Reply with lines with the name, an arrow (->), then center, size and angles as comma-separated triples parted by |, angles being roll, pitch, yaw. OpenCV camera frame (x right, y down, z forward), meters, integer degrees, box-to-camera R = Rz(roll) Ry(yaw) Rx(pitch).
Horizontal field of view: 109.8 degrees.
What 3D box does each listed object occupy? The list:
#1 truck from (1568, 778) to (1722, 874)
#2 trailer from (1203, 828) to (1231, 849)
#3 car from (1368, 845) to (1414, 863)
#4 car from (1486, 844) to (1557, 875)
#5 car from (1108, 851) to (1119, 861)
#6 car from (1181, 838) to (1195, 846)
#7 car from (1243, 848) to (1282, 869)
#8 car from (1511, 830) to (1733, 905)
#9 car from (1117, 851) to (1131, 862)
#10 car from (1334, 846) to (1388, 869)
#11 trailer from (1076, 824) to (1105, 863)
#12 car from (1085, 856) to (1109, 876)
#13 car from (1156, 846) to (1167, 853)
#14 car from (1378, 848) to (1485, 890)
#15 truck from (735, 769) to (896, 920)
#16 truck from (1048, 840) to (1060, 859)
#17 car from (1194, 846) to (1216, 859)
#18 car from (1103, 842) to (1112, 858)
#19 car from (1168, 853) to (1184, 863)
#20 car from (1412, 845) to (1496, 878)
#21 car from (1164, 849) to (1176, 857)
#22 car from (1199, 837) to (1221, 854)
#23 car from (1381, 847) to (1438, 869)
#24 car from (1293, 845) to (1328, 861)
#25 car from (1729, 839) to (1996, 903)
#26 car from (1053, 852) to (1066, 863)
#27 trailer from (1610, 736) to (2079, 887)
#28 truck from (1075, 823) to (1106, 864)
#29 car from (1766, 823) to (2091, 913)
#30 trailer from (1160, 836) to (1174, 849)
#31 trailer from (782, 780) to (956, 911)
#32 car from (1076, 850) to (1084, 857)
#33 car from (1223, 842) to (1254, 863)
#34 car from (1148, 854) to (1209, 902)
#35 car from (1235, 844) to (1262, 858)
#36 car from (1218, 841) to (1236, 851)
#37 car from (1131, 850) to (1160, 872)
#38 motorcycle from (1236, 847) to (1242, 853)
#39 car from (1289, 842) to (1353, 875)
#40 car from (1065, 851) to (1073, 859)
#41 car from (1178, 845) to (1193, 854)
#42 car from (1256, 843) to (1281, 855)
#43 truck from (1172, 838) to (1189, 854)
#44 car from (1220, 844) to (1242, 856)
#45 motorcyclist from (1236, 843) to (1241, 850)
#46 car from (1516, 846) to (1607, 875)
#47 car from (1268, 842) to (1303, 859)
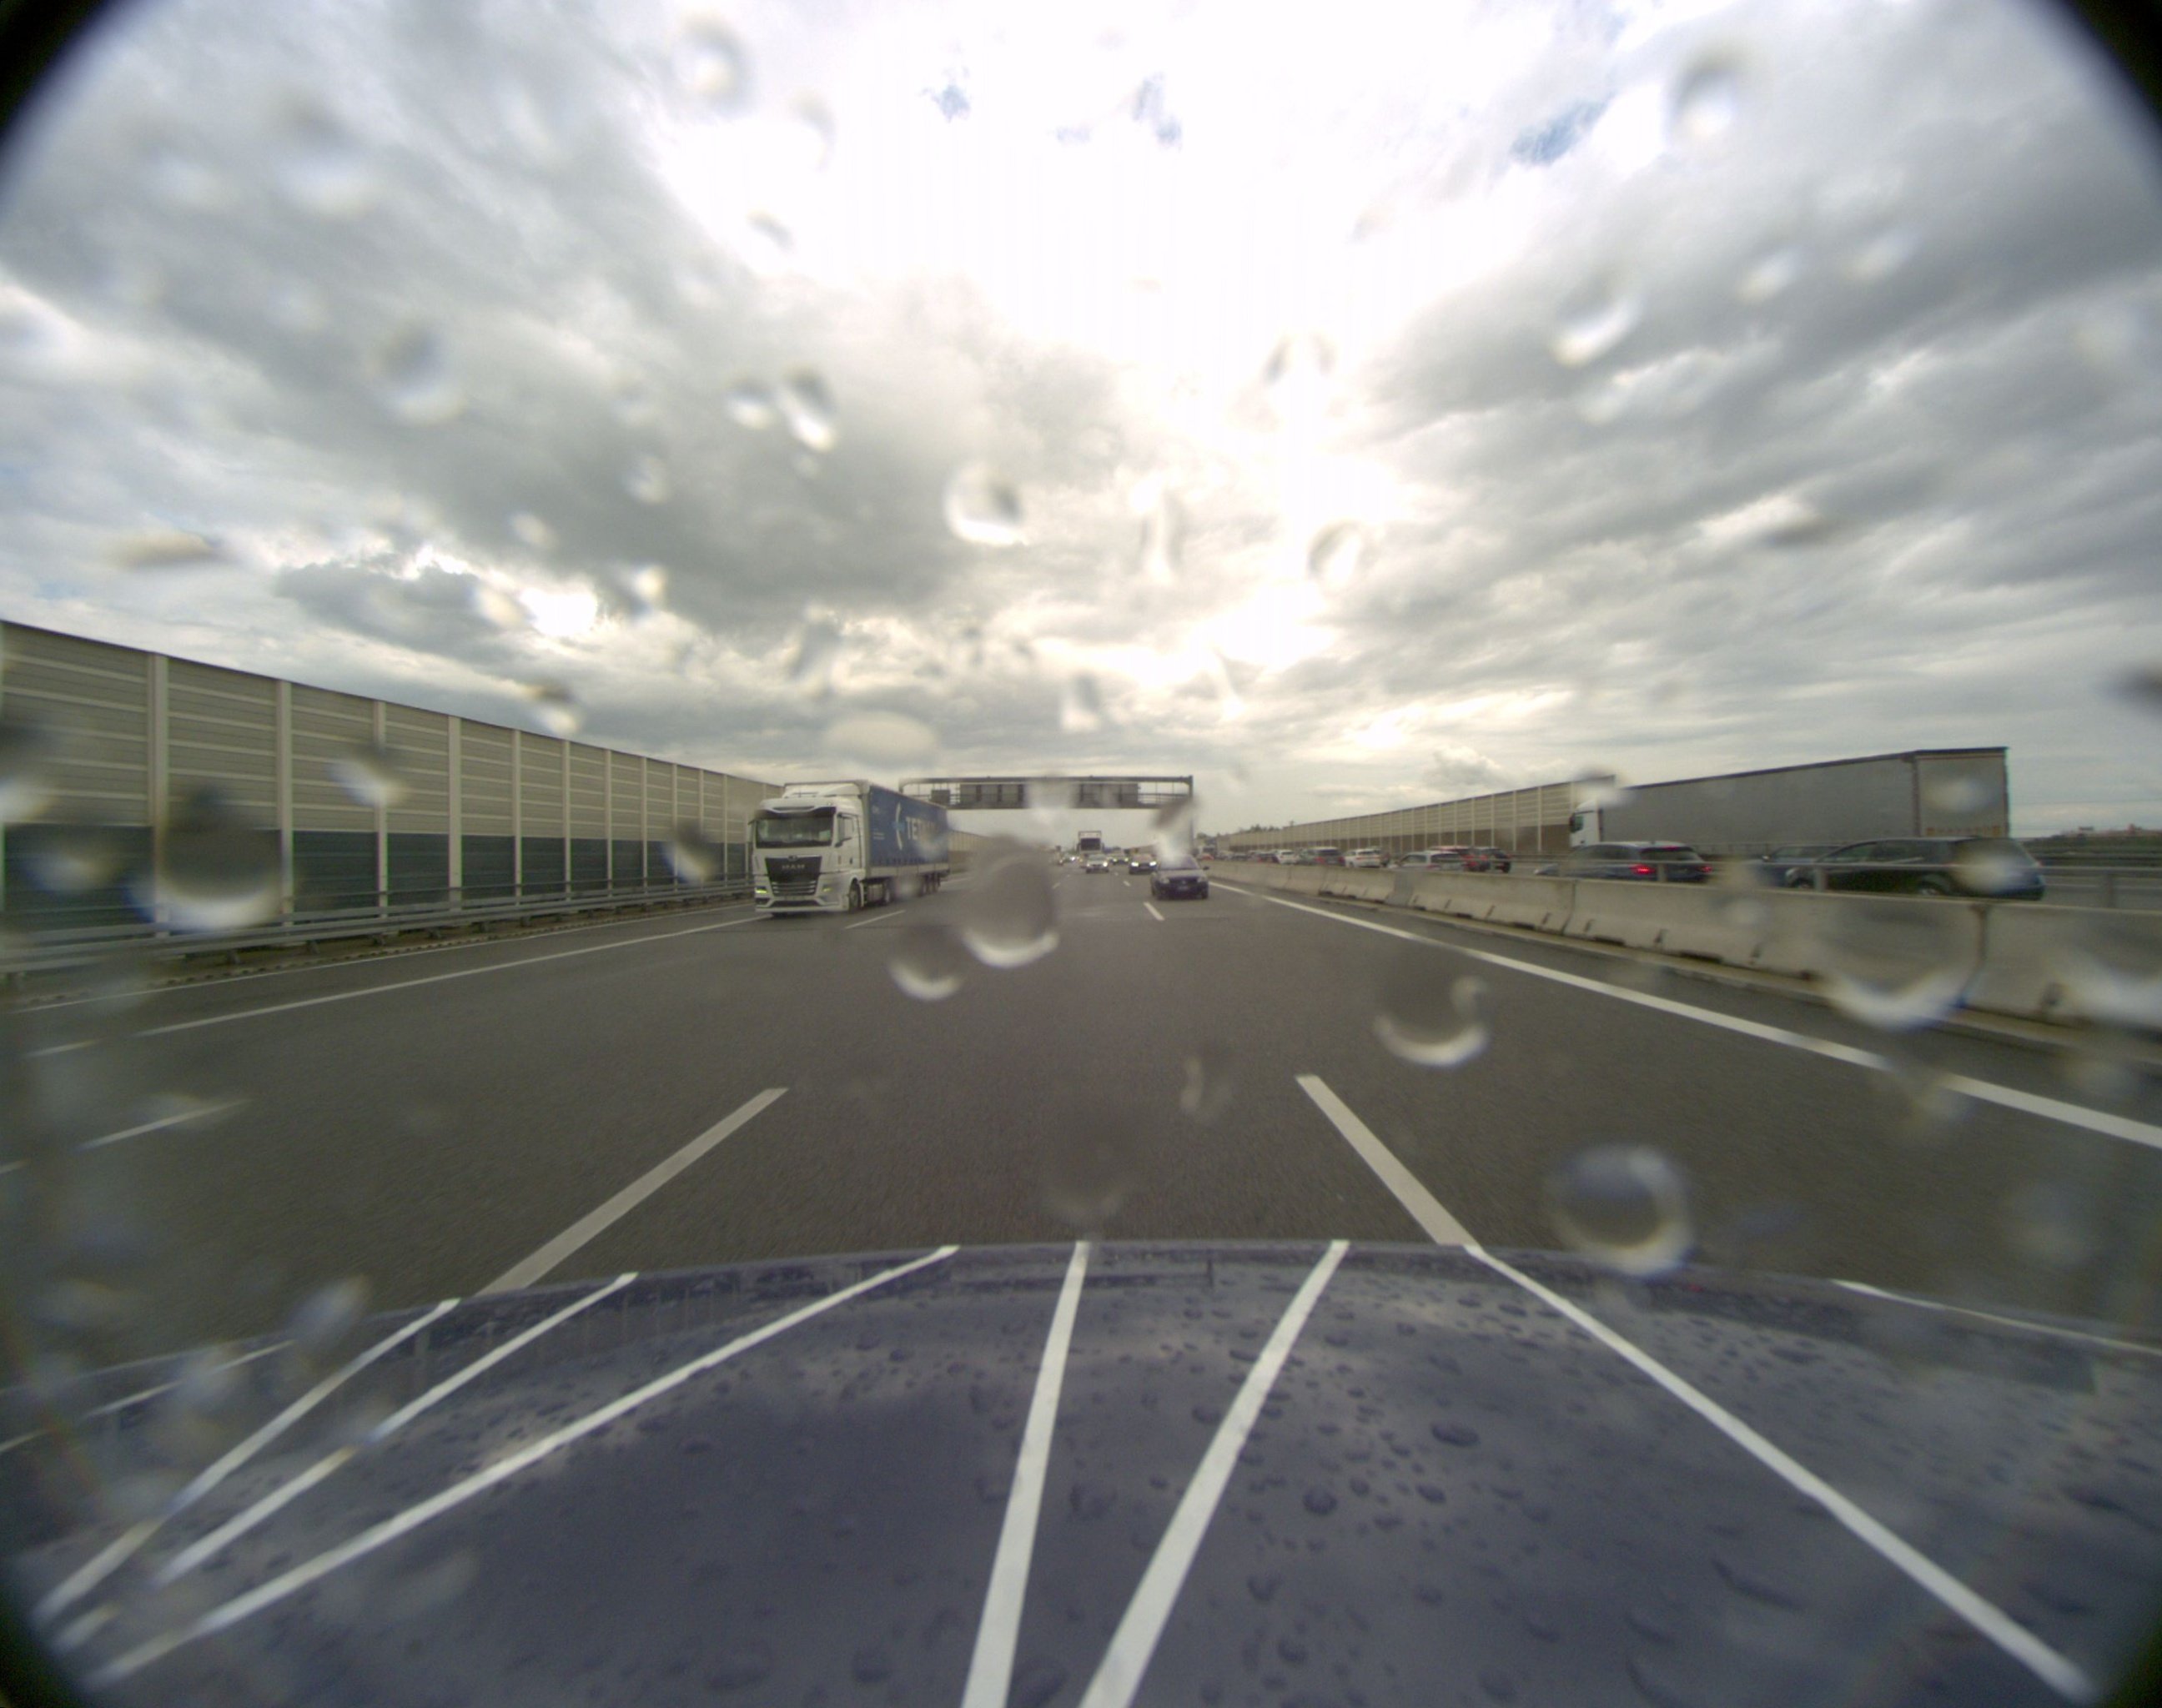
truck -> 25.917, -1.223, 35.322 | 2.979, 4.011, 5.726 | -2, 1, 2
trailer -> 26.827, -2.952, 150.664 | 2.768, 4.008, 14.450 | -2, 0, 0
car -> 28.011, -0.030, 68.775 | 2.065, 1.526, 5.470 | -1, 1, 2
car -> 22.196, 0.247, 38.446 | 1.540, 1.447, 3.588 | -2, 1, 1
car -> 5.105, 0.287, 120.360 | 1.498, 1.395, 3.999 | -2, 0, 0
car -> 22.921, -2.577, 162.928 | 2.065, 1.590, 4.996 | -2, 1, 0
car -> 14.498, 0.337, 61.090 | 2.065, 1.526, 4.997 | -1, 1, 2
car -> 13.688, 0.270, 19.770 | 2.065, 1.636, 5.380 | -1, 1, 2
car -> 5.541, 0.302, 98.086 | 1.498, 1.395, 4.000 | -2, 0, 0
car -> 18.802, 0.202, 51.230 | 2.065, 1.408, 4.523 | -1, 1, 2
trailer -> 1.255, -1.173, 88.811 | 2.925, 4.188, 13.197 | -3, 0, 2
car -> 1.244, 0.899, 59.090 | 1.732, 1.395, 4.000 | -2, 0, 2
car -> 19.303, -1.111, 182.536 | 1.878, 1.689, 5.014 | -2, 0, -1
car -> 14.346, 0.547, 31.539 | 2.065, 1.526, 5.470 | -1, 1, 2
truck -> -7.872, -0.268, 23.382 | 2.751, 4.011, 5.725 | -2, 1, 1
truck -> -6.454, -1.084, 178.185 | 2.600, 4.088, 11.368 | -2, 0, -2
car -> 15.355, -0.252, 94.167 | 2.065, 1.482, 4.997 | -1, 1, 2
car -> 5.255, -0.810, 148.771 | 1.645, 3.041, 4.589 | -2, 1, 2
car -> 15.176, 0.586, 121.854 | 2.065, 1.482, 4.997 | -1, 1, 2
car -> 18.868, 0.320, 38.680 | 2.065, 1.526, 4.719 | -1, 1, 2
car -> 19.694, -0.285, 168.560 | 2.065, 1.590, 4.996 | -2, 1, 0
car -> 20.066, -1.313, 118.422 | 2.389, 2.535, 7.086 | -2, 1, 2
car -> 22.465, 0.243, 52.108 | 2.065, 1.408, 4.523 | -1, 1, 2
car -> 22.989, -0.133, 76.337 | 2.065, 1.482, 4.997 | -1, 1, 2
car -> 21.673, 0.387, 21.535 | 2.065, 1.526, 5.470 | -1, 1, 2
car -> -2.978, 0.481, 104.156 | 1.698, 1.395, 3.999 | -2, 0, -1
trailer -> 25.704, -1.193, 27.811 | 2.939, 4.008, 14.453 | -2, 0, 2
truck -> 1.091, -1.109, 82.025 | 2.913, 4.146, 5.193 | -3, 0, 2
car -> 17.847, 0.230, 16.443 | 2.065, 1.636, 4.519 | -1, 1, 2
trailer -> 26.872, -3.619, 238.349 | 2.768, 4.008, 14.451 | -2, 0, 0
trailer -> -7.789, -0.296, 30.899 | 2.768, 4.008, 14.452 | -2, 0, 1
car -> -0.143, -0.093, 173.292 | 1.698, 1.395, 4.000 | -2, 0, 2
car -> 15.150, -0.191, 73.256 | 2.065, 1.869, 4.997 | -1, 1, 2
car -> 3.124, 0.717, 25.017 | 1.578, 1.395, 4.000 | -2, 0, 2
car -> 19.061, -0.361, 86.554 | 2.065, 1.482, 4.997 | -1, 1, 2
car -> 23.832, -1.313, 124.311 | 2.065, 1.482, 4.997 | -1, 1, 2
car -> 4.485, 0.437, 53.581 | 1.776, 1.451, 4.480 | -2, 0, 2
motorcycle -> 27.105, -0.624, 130.578 | 0.519, 1.001, 2.431 | -3, 0, 1
car -> 14.655, 0.216, 46.841 | 2.065, 1.869, 6.327 | -1, 1, 2
car -> -2.271, 0.112, 141.646 | 1.498, 1.395, 3.999 | -2, 0, 0
car -> 18.624, -0.777, 135.076 | 2.065, 1.482, 4.997 | -1, 1, 2
car -> 23.835, -0.678, 96.608 | 2.065, 1.482, 4.997 | -1, 1, 2
truck -> 23.666, -1.835, 181.025 | 2.703, 3.507, 9.995 | -3, 0, 1
car -> 19.944, -0.541, 101.256 | 2.065, 1.482, 4.997 | -1, 1, 2
motorcyclist -> 27.026, -1.267, 130.563 | 0.638, 1.217, 0.796 | -3, 1, 1
car -> 28.121, 0.348, 44.732 | 2.065, 1.526, 5.470 | -1, 1, 2
car -> 19.294, -0.378, 71.994 | 2.065, 1.482, 4.997 | -1, 1, 2
